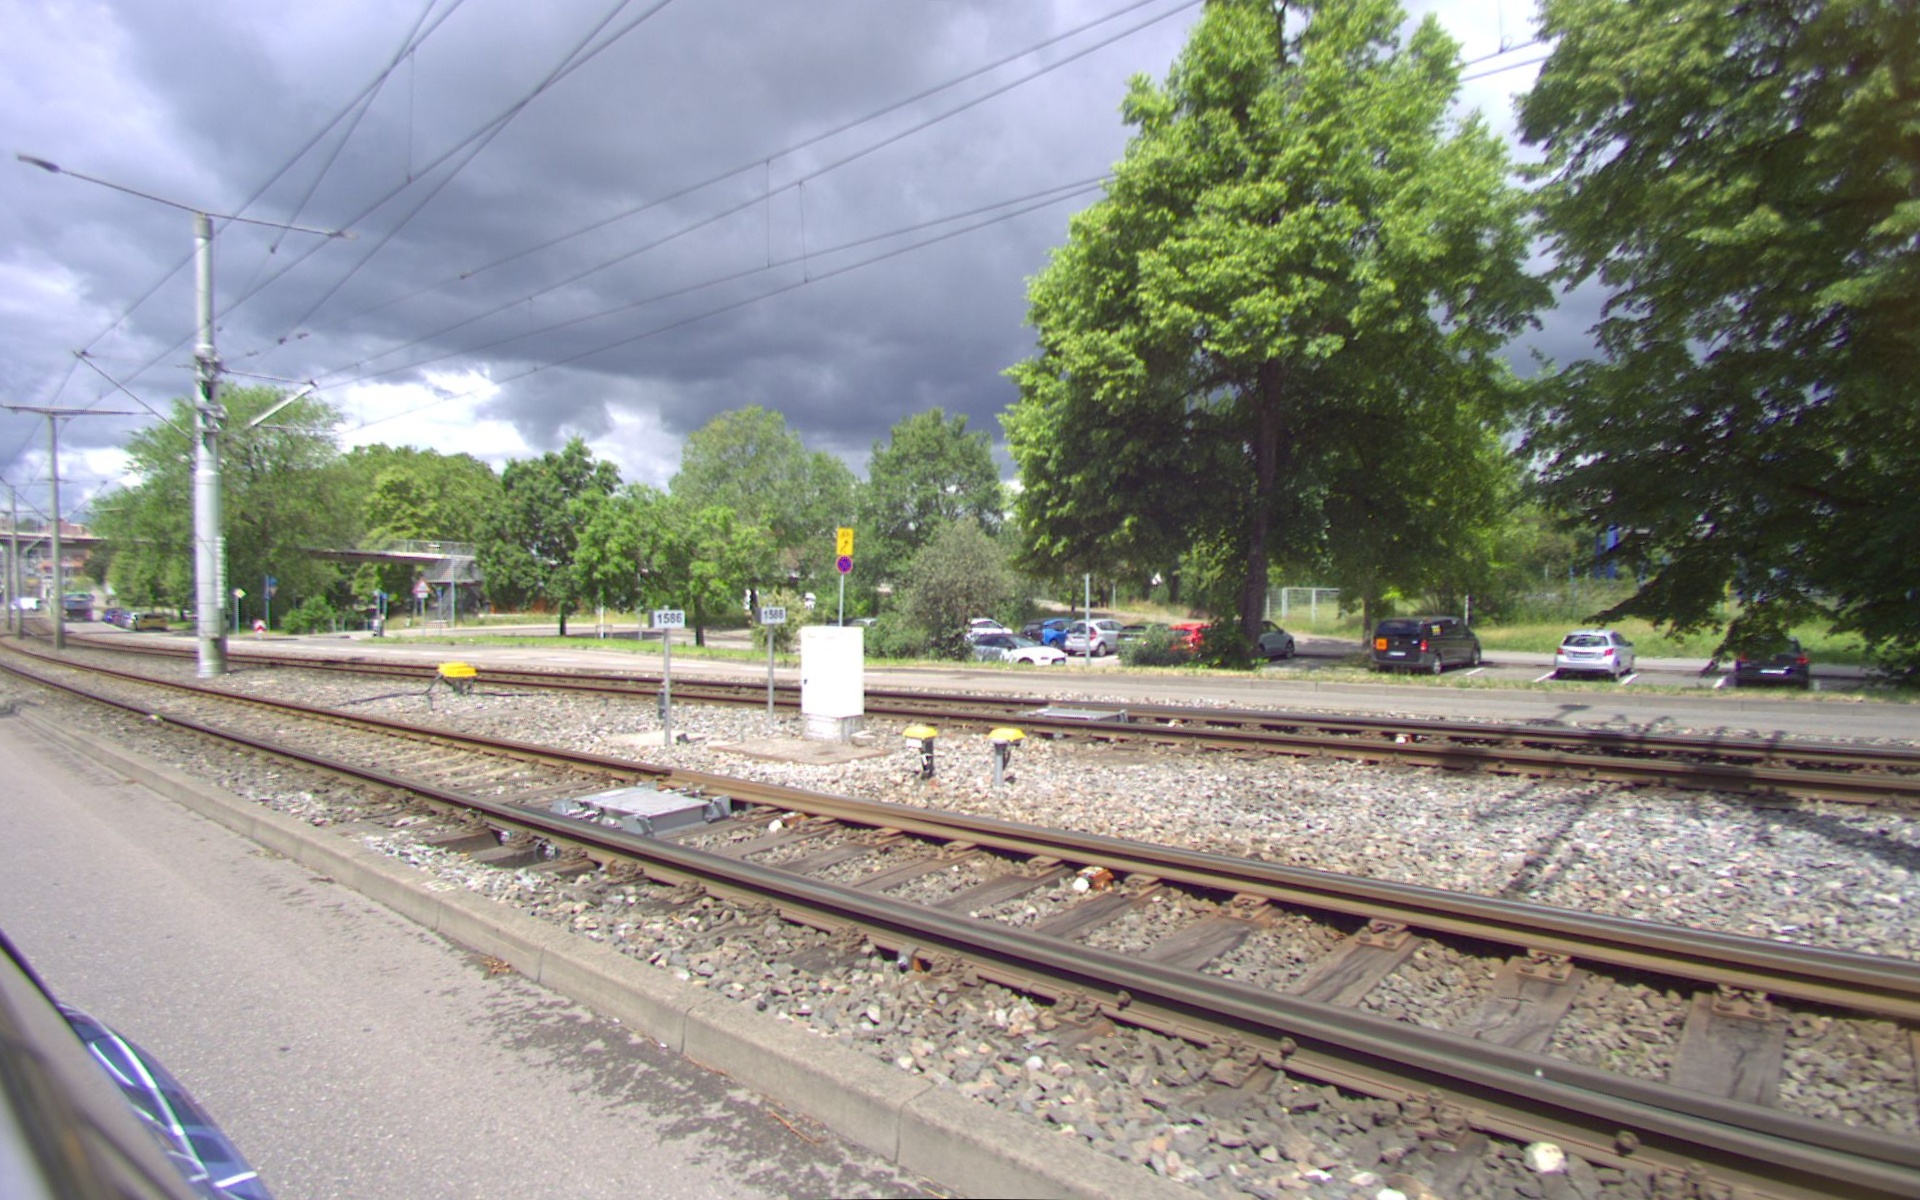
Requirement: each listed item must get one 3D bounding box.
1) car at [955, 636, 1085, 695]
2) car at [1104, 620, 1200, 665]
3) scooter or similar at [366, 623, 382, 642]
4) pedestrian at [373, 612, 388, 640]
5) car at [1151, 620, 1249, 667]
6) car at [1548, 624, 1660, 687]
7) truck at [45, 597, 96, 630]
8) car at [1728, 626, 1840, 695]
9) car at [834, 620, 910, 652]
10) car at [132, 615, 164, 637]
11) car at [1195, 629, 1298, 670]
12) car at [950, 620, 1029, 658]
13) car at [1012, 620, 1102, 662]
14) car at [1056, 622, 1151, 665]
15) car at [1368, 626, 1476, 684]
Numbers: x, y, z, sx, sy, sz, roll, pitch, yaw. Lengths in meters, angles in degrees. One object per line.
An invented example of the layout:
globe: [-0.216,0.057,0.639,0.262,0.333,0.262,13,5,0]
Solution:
car: [2.034,2.215,34.818,4.066,1.768,1.969,-2,0,41]
car: [8.165,1.767,42.841,3.907,1.592,1.998,-3,0,-42]
scooter or similar: [-37.420,2.052,64.635,0.702,1.155,0.789,-3,3,-42]
pedestrian: [-37.677,1.704,65.796,0.653,1.768,0.719,-3,3,-42]
car: [9.811,1.738,41.310,3.907,1.592,1.998,-3,0,-42]
car: [20.371,1.697,31.961,3.937,1.611,1.862,-3,1,-40]
truck: [-98.120,1.424,111.604,9.025,3.344,2.842,1,3,41]
car: [23.585,1.657,28.929,3.938,1.611,1.861,-3,2,-41]
car: [-4.678,1.874,53.957,3.822,1.401,1.576,-3,3,-41]
car: [-63.750,2.015,79.416,1.669,1.461,3.903,-3,3,-43]
car: [11.199,1.903,39.461,4.033,1.261,1.998,-3,1,-42]
car: [1.493,1.914,49.889,1.841,1.592,3.875,-2,0,41]
car: [4.430,1.838,45.937,3.907,1.592,1.871,-3,0,-42]
car: [6.294,1.872,44.195,3.907,1.592,1.996,-3,0,-42]
car: [15.670,1.801,34.293,3.551,1.649,1.954,-3,1,-40]
